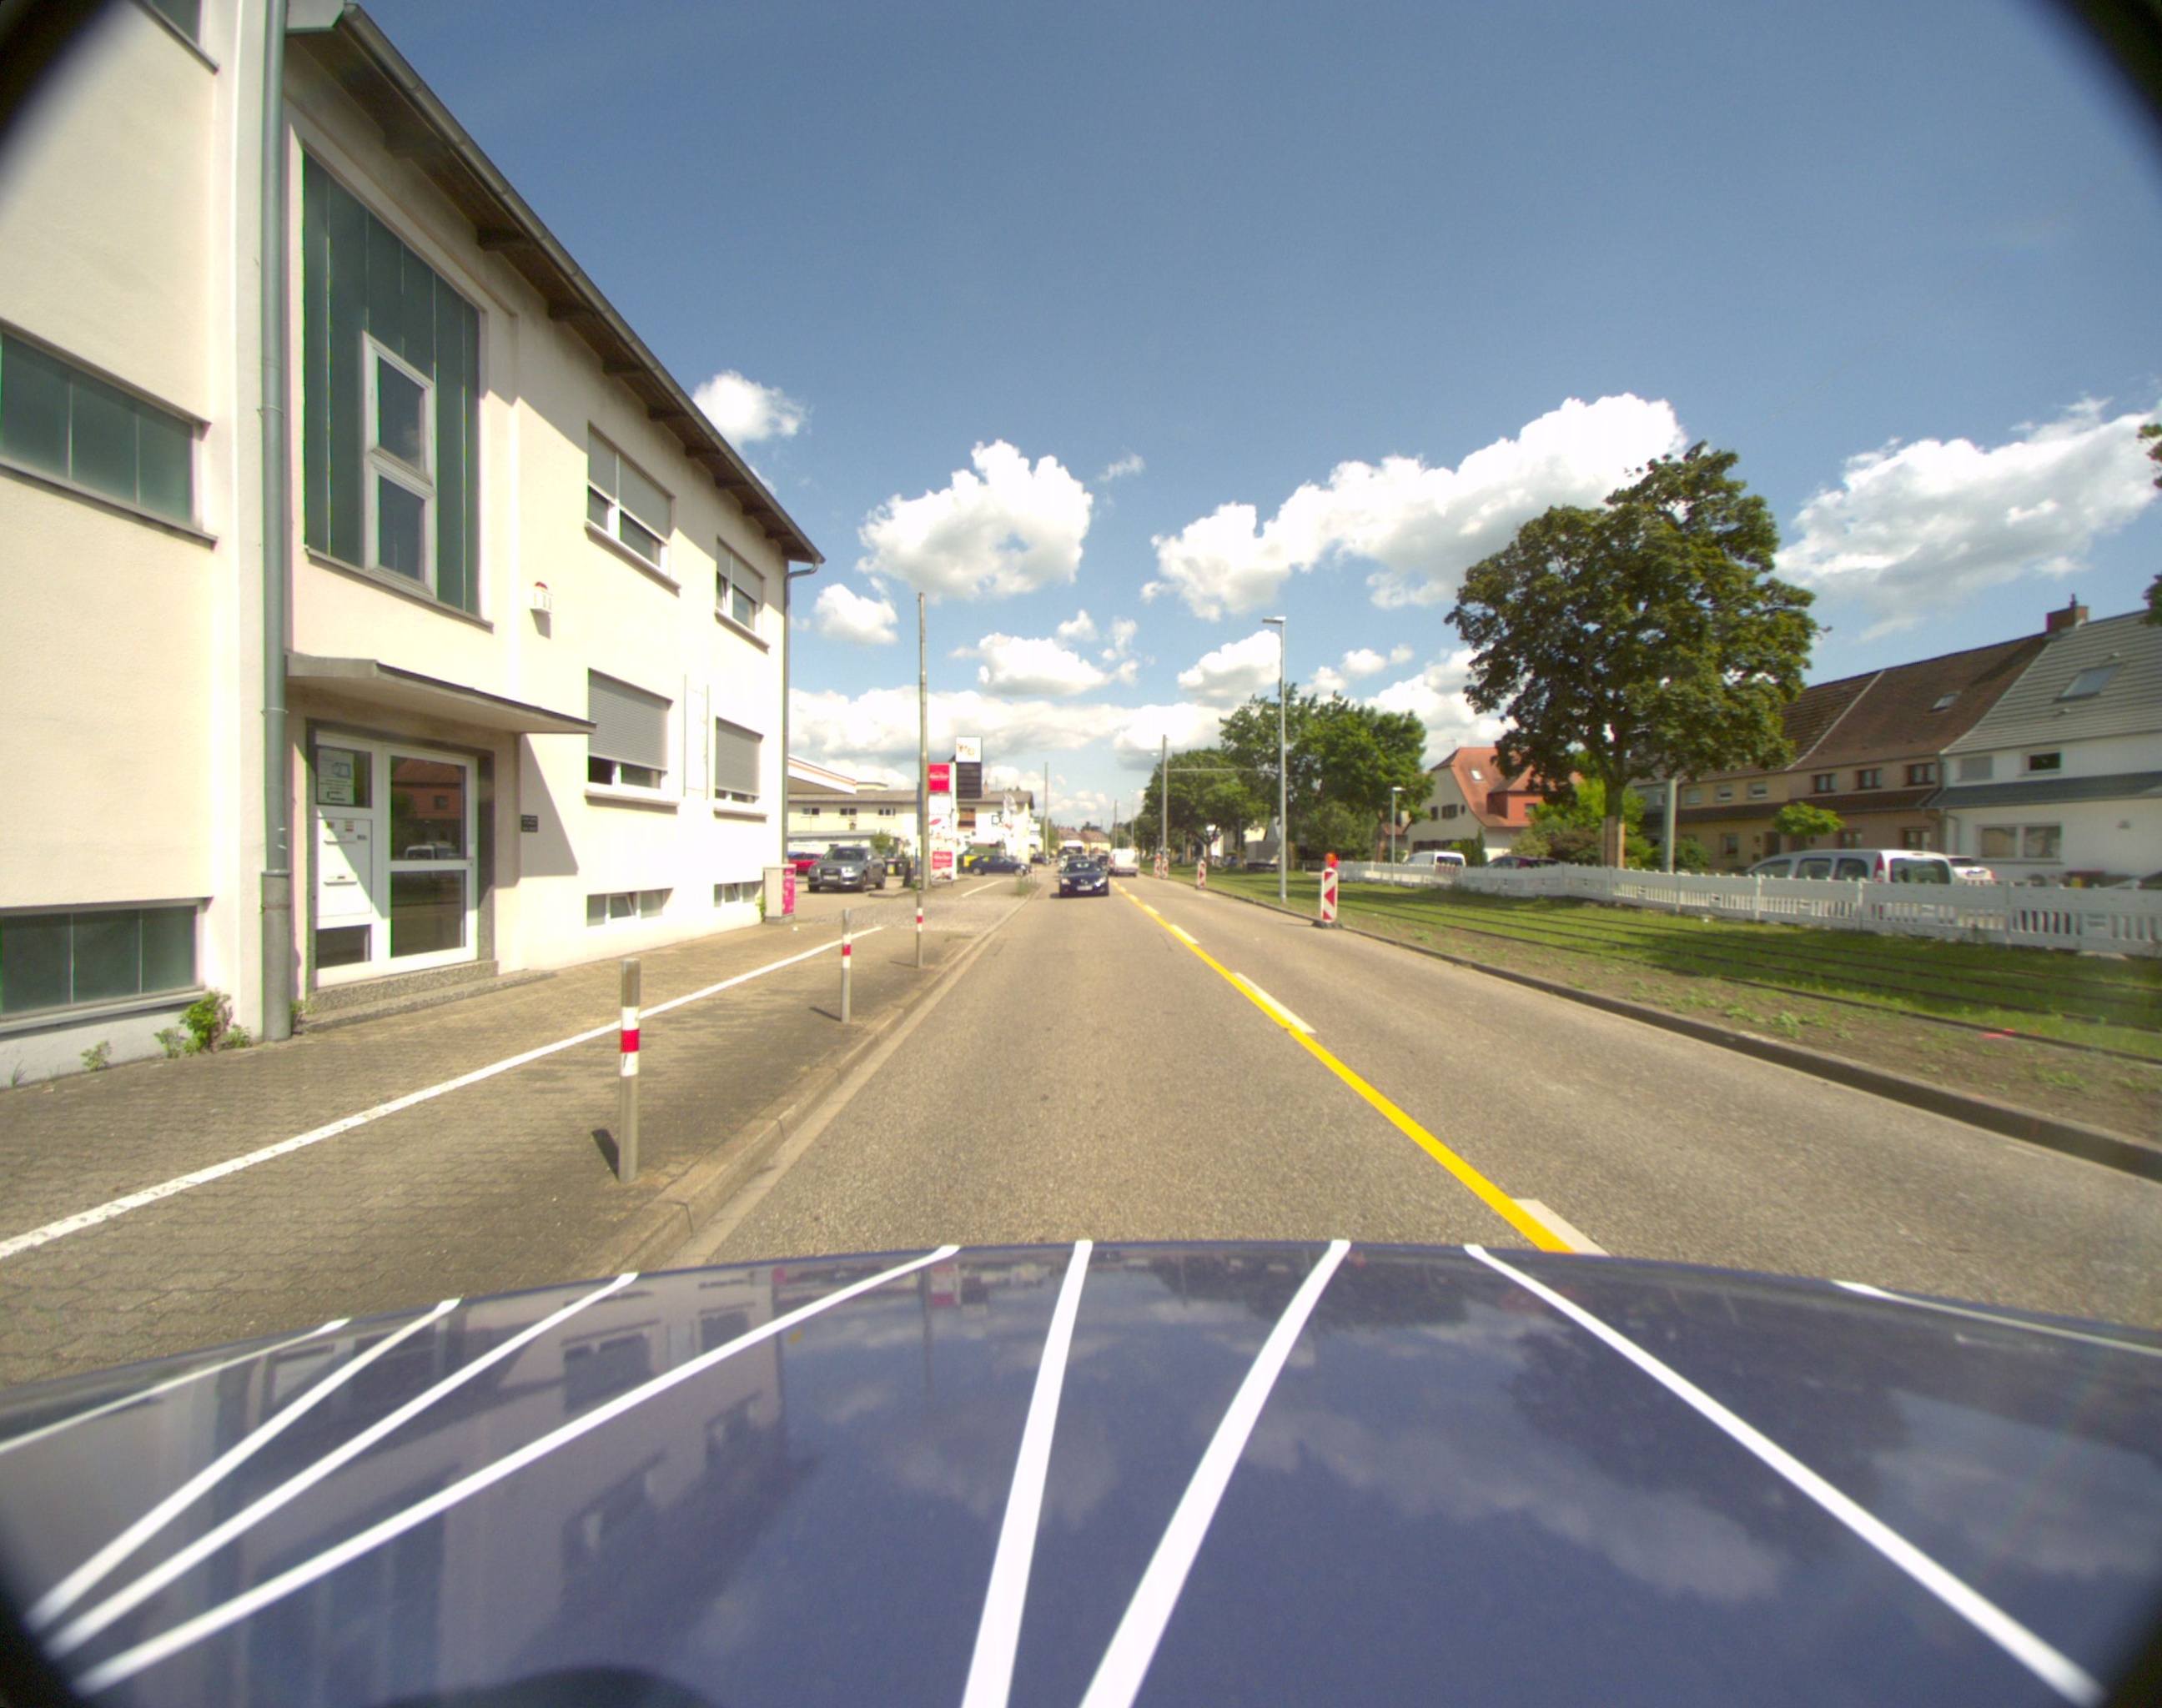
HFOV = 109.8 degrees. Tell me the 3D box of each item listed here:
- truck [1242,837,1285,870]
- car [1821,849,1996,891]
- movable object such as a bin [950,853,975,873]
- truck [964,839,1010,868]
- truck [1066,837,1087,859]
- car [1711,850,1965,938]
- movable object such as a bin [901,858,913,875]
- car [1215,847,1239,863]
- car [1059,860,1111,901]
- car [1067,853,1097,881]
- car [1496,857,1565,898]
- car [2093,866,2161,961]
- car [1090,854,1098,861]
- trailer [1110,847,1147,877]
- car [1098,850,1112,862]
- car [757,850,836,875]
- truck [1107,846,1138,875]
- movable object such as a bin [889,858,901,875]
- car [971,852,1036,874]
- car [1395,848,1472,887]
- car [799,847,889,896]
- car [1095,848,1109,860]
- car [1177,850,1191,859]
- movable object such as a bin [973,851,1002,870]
[{"bbox_3d":[16.143,-0.099,67.617,2.371,2.789,5.950,-2,1,0],"label":"truck"},{"bbox_3d":[28.396,0.492,26.295,1.538,1.268,4.119,1,1,0],"label":"car"},{"bbox_3d":[-8.871,0.657,57.058,1.536,1.402,1.765,-2,1,-1],"label":"movable object such as a bin"},{"bbox_3d":[-9.146,-0.090,74.339,4.181,2.645,2.108,-2,1,1],"label":"truck"},{"bbox_3d":[-0.616,-0.902,104.218,2.632,2.872,7.922,-2,1,1],"label":"truck"},{"bbox_3d":[16.358,0.778,16.746,1.627,1.642,3.898,1,1,0],"label":"car"},{"bbox_3d":[-11.006,0.775,48.137,0.582,1.004,0.706,-2,1,-1],"label":"movable object such as a bin"},{"bbox_3d":[14.975,0.104,78.261,1.672,1.504,3.930,-2,1,0],"label":"car"},{"bbox_3d":[0.125,0.912,27.895,1.732,1.259,3.999,-2,1,0],"label":"car"},{"bbox_3d":[0.040,0.695,43.412,1.594,1.418,3.706,-2,1,0],"label":"car"},{"bbox_3d":[16.000,0.814,27.130,1.075,1.340,2.449,1,1,4],"label":"car"},{"bbox_3d":[16.361,0.882,10.210,1.353,1.369,3.114,1,0,0],"label":"car"},{"bbox_3d":[2.890,0.760,170.518,1.582,1.461,3.719,2,1,0],"label":"car"},{"bbox_3d":[3.164,0.487,51.519,2.067,1.825,5.484,2,1,0],"label":"trailer"},{"bbox_3d":[3.587,0.351,112.808,1.829,1.656,4.461,1,1,0],"label":"car"},{"bbox_3d":[-17.232,0.524,46.140,4.145,1.416,1.771,1,1,1],"label":"car"},{"bbox_3d":[3.003,0.417,55.497,1.825,1.899,5.114,2,1,-1],"label":"truck"},{"bbox_3d":[-11.749,0.789,48.098,0.582,1.004,0.706,-2,1,-1],"label":"movable object such as a bin"},{"bbox_3d":[-5.132,0.589,50.786,4.061,1.400,1.647,0,1,6],"label":"car"},{"bbox_3d":[16.089,0.567,34.910,1.657,1.616,4.000,1,1,0],"label":"car"},{"bbox_3d":[-8.467,0.554,27.606,1.951,1.615,4.614,1,1,-2],"label":"car"},{"bbox_3d":[2.724,-0.049,98.762,1.697,1.404,3.858,2,1,-1],"label":"car"},{"bbox_3d":[15.930,0.081,117.708,1.637,1.294,3.999,-2,1,0],"label":"car"},{"bbox_3d":[-7.083,0.503,57.457,1.968,1.339,1.708,-2,1,-1],"label":"movable object such as a bin"}]
